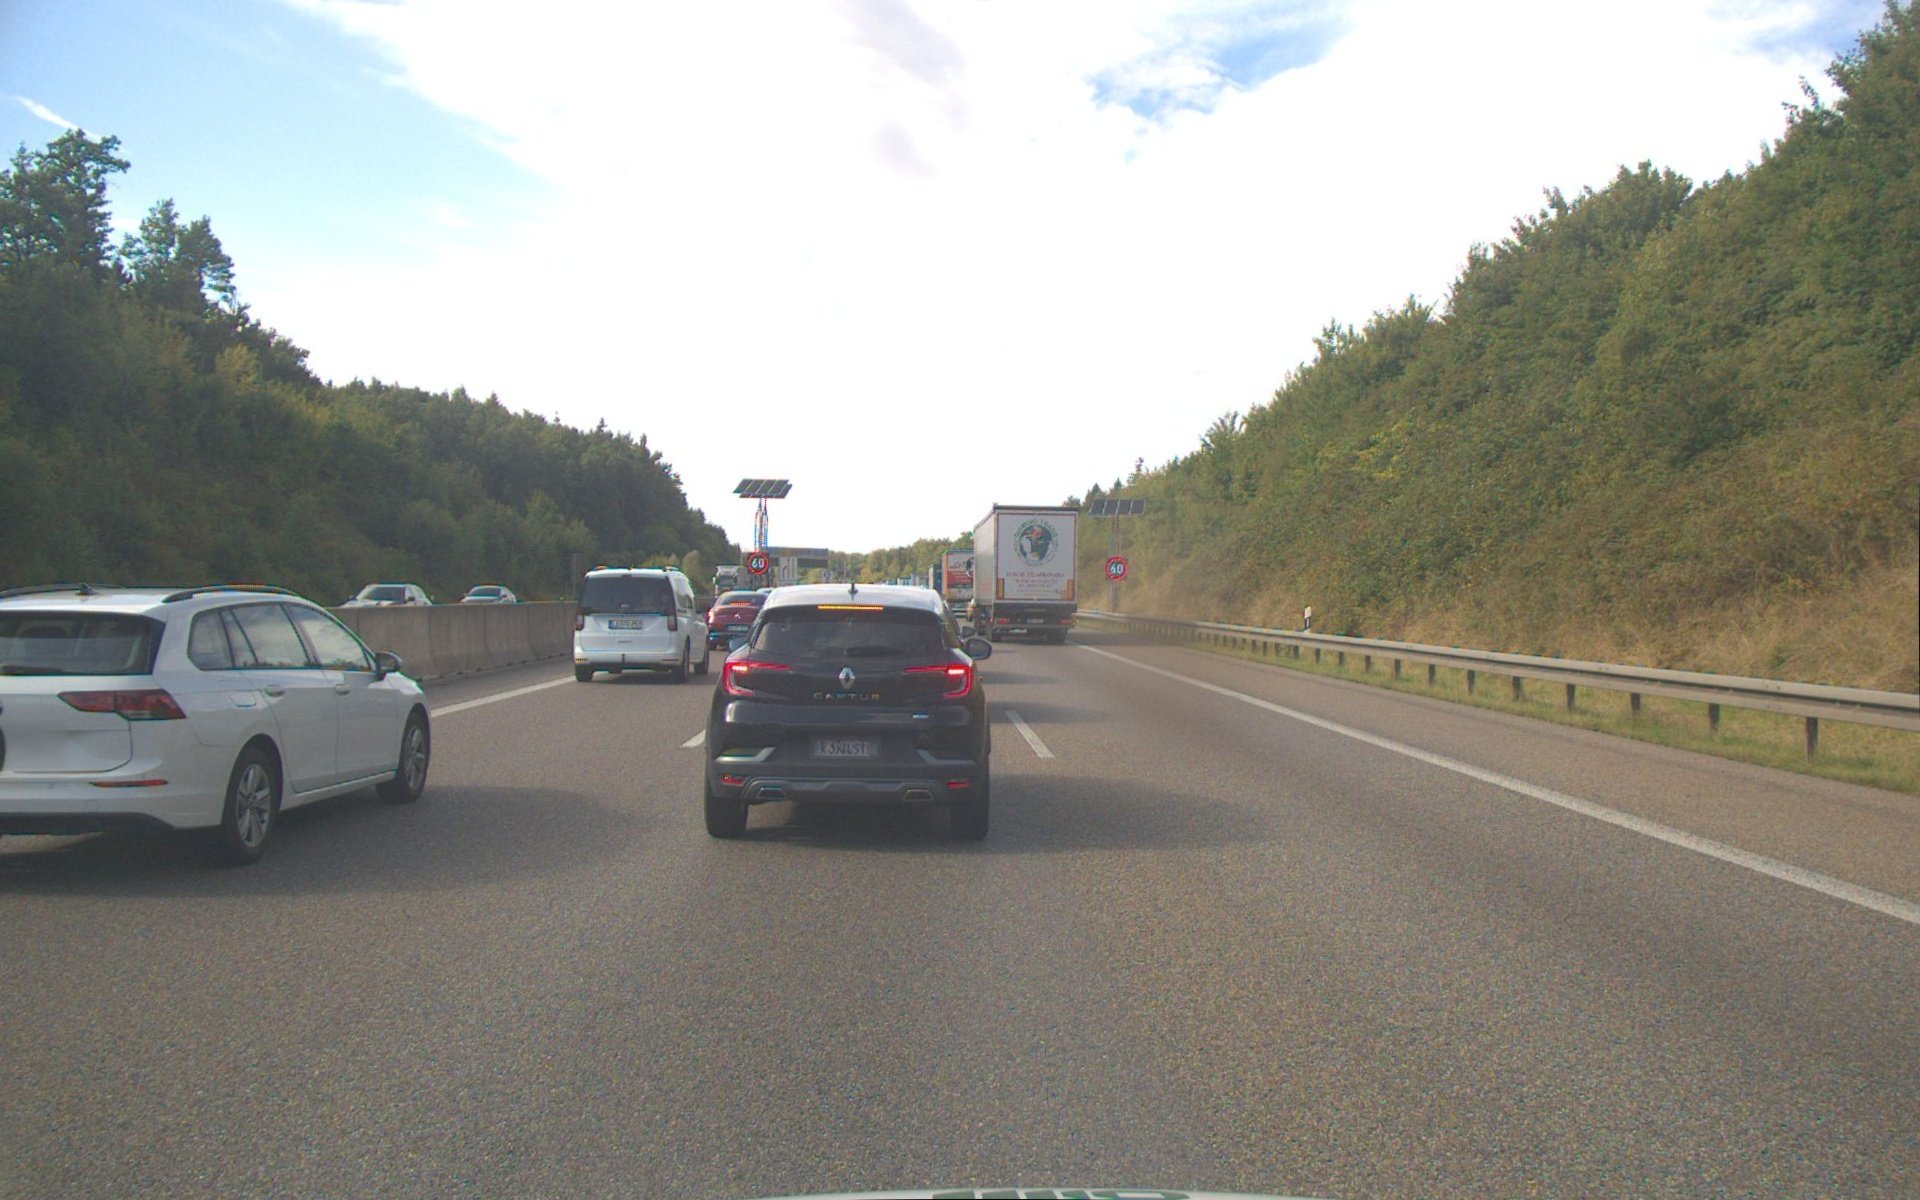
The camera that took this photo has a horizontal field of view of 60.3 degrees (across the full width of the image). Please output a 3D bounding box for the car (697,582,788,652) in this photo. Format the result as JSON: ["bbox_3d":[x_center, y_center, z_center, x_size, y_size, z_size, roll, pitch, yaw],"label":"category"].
[{"bbox_3d":[-5.505,0.427,42.282,1.818,1.669,3.925,1,0,0],"label":"car"}]

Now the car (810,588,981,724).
[{"bbox_3d":[-0.776,0.651,21.095,1.953,1.540,3.999,1,0,-1],"label":"car"}]

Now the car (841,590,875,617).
[{"bbox_3d":[-6.498,0.205,105.907,1.953,1.641,3.999,1,0,-1],"label":"car"}]

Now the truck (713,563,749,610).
[{"bbox_3d":[-25.826,-1.536,186.942,2.832,5.182,10.077,1,0,-2],"label":"truck"}]

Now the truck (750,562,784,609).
[{"bbox_3d":[-21.287,-1.582,183.138,2.832,5.021,10.077,1,0,-2],"label":"truck"}]

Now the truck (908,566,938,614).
[{"bbox_3d":[-4.392,-1.102,199.659,3.101,5.601,12.738,1,0,1],"label":"truck"}]

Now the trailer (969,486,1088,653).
[{"bbox_3d":[2.010,-0.917,54.133,2.941,4.742,13.286,1,0,-2],"label":"trailer"}]

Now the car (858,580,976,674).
[{"bbox_3d":[-0.749,0.462,29.730,1.953,1.540,3.999,1,0,-1],"label":"car"}]

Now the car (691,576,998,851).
[{"bbox_3d":[-0.633,0.653,11.555,1.767,1.579,4.000,0,0,1],"label":"car"}]

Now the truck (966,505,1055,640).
[{"bbox_3d":[1.799,-0.983,61.398,2.936,4.749,5.937,1,0,-2],"label":"truck"}]

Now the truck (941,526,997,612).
[{"bbox_3d":[0.494,-1.828,105.315,3.296,5.132,12.735,1,0,-1],"label":"truck"}]

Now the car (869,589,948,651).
[{"bbox_3d":[-1.324,0.517,43.559,1.953,1.540,3.999,1,0,-1],"label":"car"}]

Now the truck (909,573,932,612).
[{"bbox_3d":[-5.538,-0.992,234.084,3.102,5.250,12.735,1,0,-1],"label":"truck"}]

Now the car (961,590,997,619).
[{"bbox_3d":[1.008,0.245,89.859,1.768,1.559,3.924,1,0,-2],"label":"car"}]

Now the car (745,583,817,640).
[{"bbox_3d":[-5.810,0.376,54.065,1.953,1.752,3.999,1,0,-1],"label":"car"}]

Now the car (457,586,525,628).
[{"bbox_3d":[-21.377,0.295,75.582,1.815,1.841,4.923,1,0,-2],"label":"car"}]

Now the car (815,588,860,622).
[{"bbox_3d":[-6.083,0.239,82.553,1.953,1.641,3.999,1,0,-1],"label":"car"}]

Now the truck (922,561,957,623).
[{"bbox_3d":[-1.910,-0.727,157.183,3.102,5.601,12.735,1,0,-1],"label":"truck"}]

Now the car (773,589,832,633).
[{"bbox_3d":[-6.140,0.420,64.904,1.953,1.641,3.999,1,0,-1],"label":"car"}]

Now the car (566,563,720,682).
[{"bbox_3d":[-5.256,0.361,27.955,1.873,1.821,4.415,1,0,-2],"label":"car"}]

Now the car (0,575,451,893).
[{"bbox_3d":[-4.602,0.631,9.912,1.768,1.486,4.308,1,0,0],"label":"car"}]
